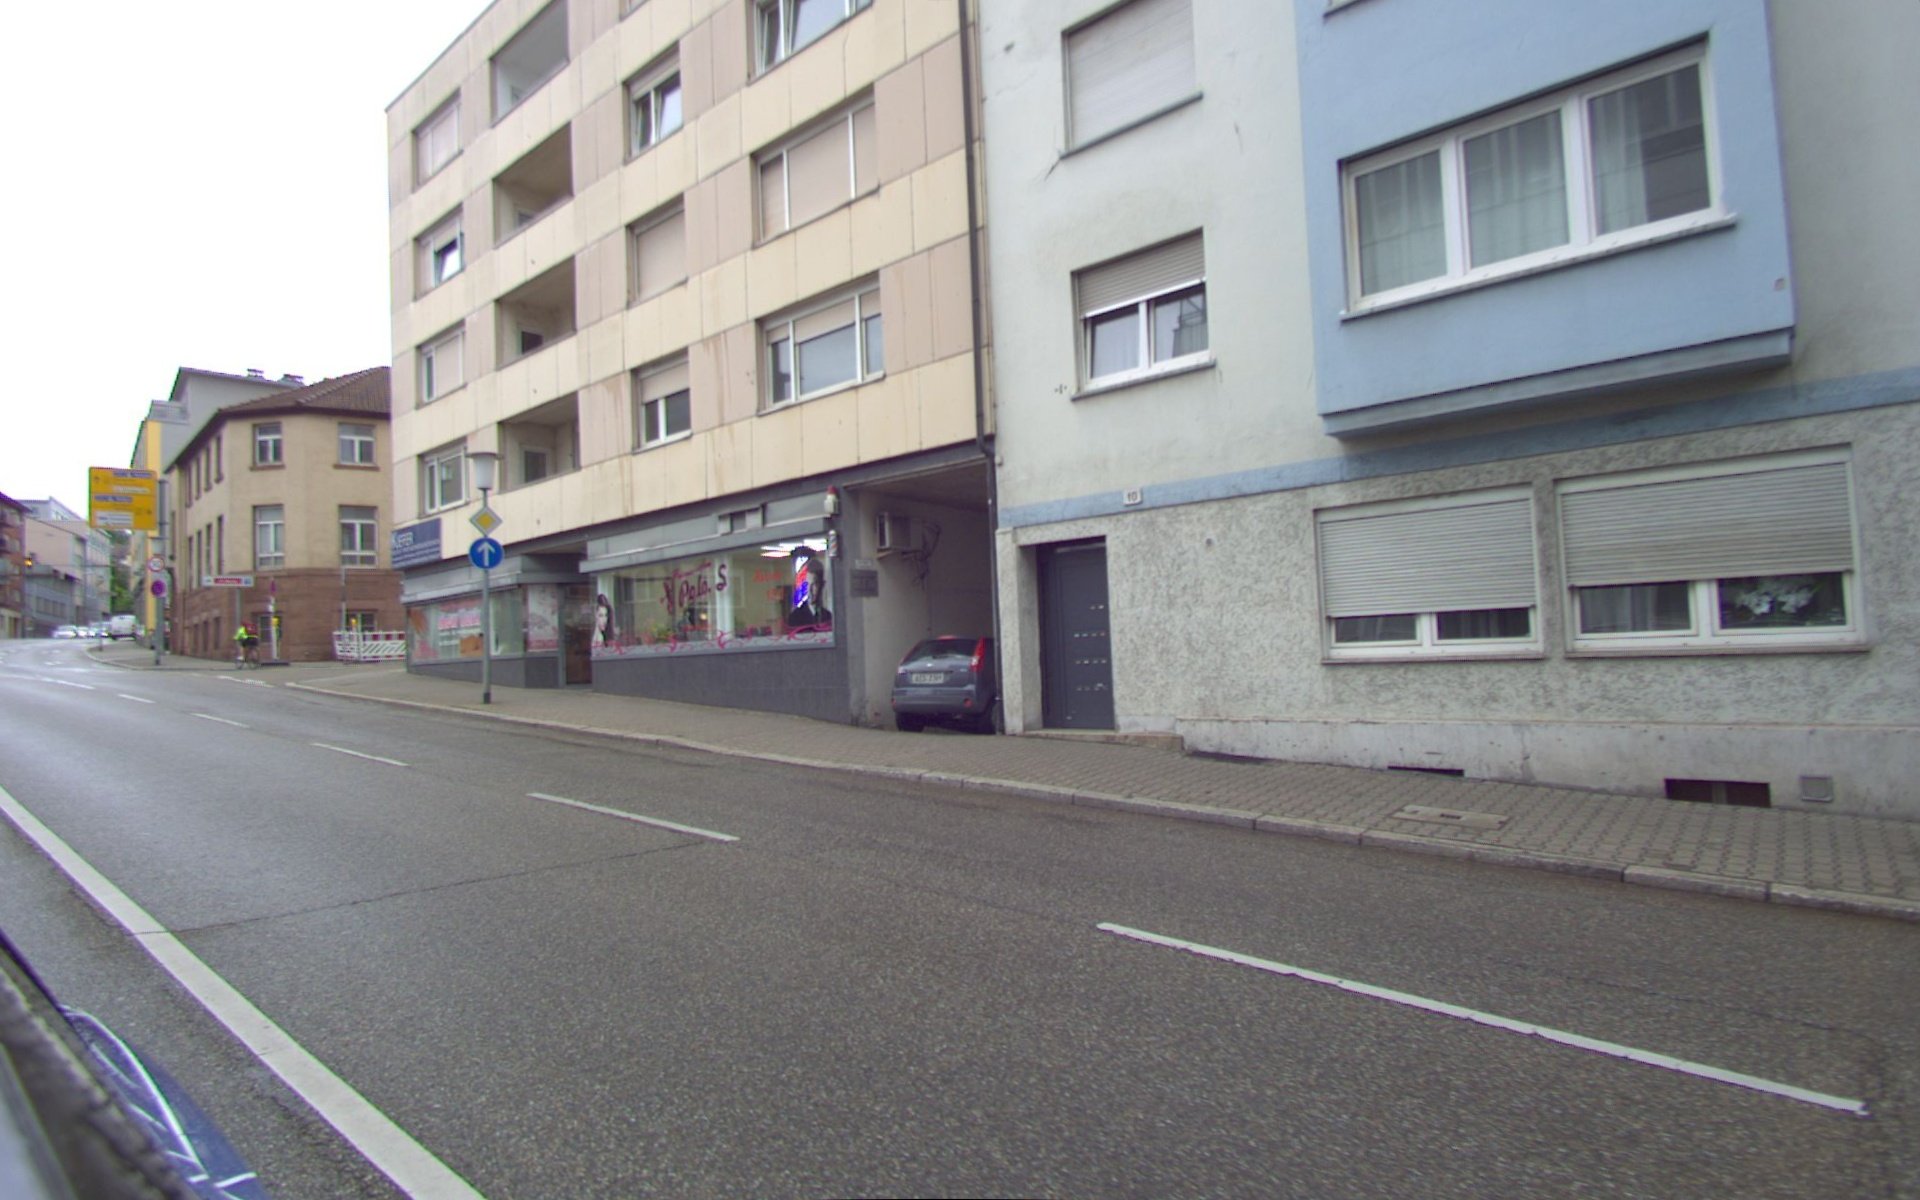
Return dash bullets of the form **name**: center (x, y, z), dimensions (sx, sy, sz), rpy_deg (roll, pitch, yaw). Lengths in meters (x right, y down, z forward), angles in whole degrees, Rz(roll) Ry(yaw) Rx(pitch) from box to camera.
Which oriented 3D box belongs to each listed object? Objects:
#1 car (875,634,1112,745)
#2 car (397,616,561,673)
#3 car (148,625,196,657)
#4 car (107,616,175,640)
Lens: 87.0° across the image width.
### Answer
- **car**: center (0.639, 1.414, 15.002), dimensions (1.674, 1.361, 3.954), rpy_deg (-3, -10, 34)
- **car**: center (-14.851, 1.328, 31.346), dimensions (4.295, 1.515, 1.757), rpy_deg (-1, -1, -39)
- **car**: center (-40.713, 2.097, 52.234), dimensions (1.834, 1.465, 3.970), rpy_deg (-3, 0, -39)
- **car**: center (-62.509, 2.149, 77.330), dimensions (1.840, 1.817, 4.268), rpy_deg (1, -2, -3)
